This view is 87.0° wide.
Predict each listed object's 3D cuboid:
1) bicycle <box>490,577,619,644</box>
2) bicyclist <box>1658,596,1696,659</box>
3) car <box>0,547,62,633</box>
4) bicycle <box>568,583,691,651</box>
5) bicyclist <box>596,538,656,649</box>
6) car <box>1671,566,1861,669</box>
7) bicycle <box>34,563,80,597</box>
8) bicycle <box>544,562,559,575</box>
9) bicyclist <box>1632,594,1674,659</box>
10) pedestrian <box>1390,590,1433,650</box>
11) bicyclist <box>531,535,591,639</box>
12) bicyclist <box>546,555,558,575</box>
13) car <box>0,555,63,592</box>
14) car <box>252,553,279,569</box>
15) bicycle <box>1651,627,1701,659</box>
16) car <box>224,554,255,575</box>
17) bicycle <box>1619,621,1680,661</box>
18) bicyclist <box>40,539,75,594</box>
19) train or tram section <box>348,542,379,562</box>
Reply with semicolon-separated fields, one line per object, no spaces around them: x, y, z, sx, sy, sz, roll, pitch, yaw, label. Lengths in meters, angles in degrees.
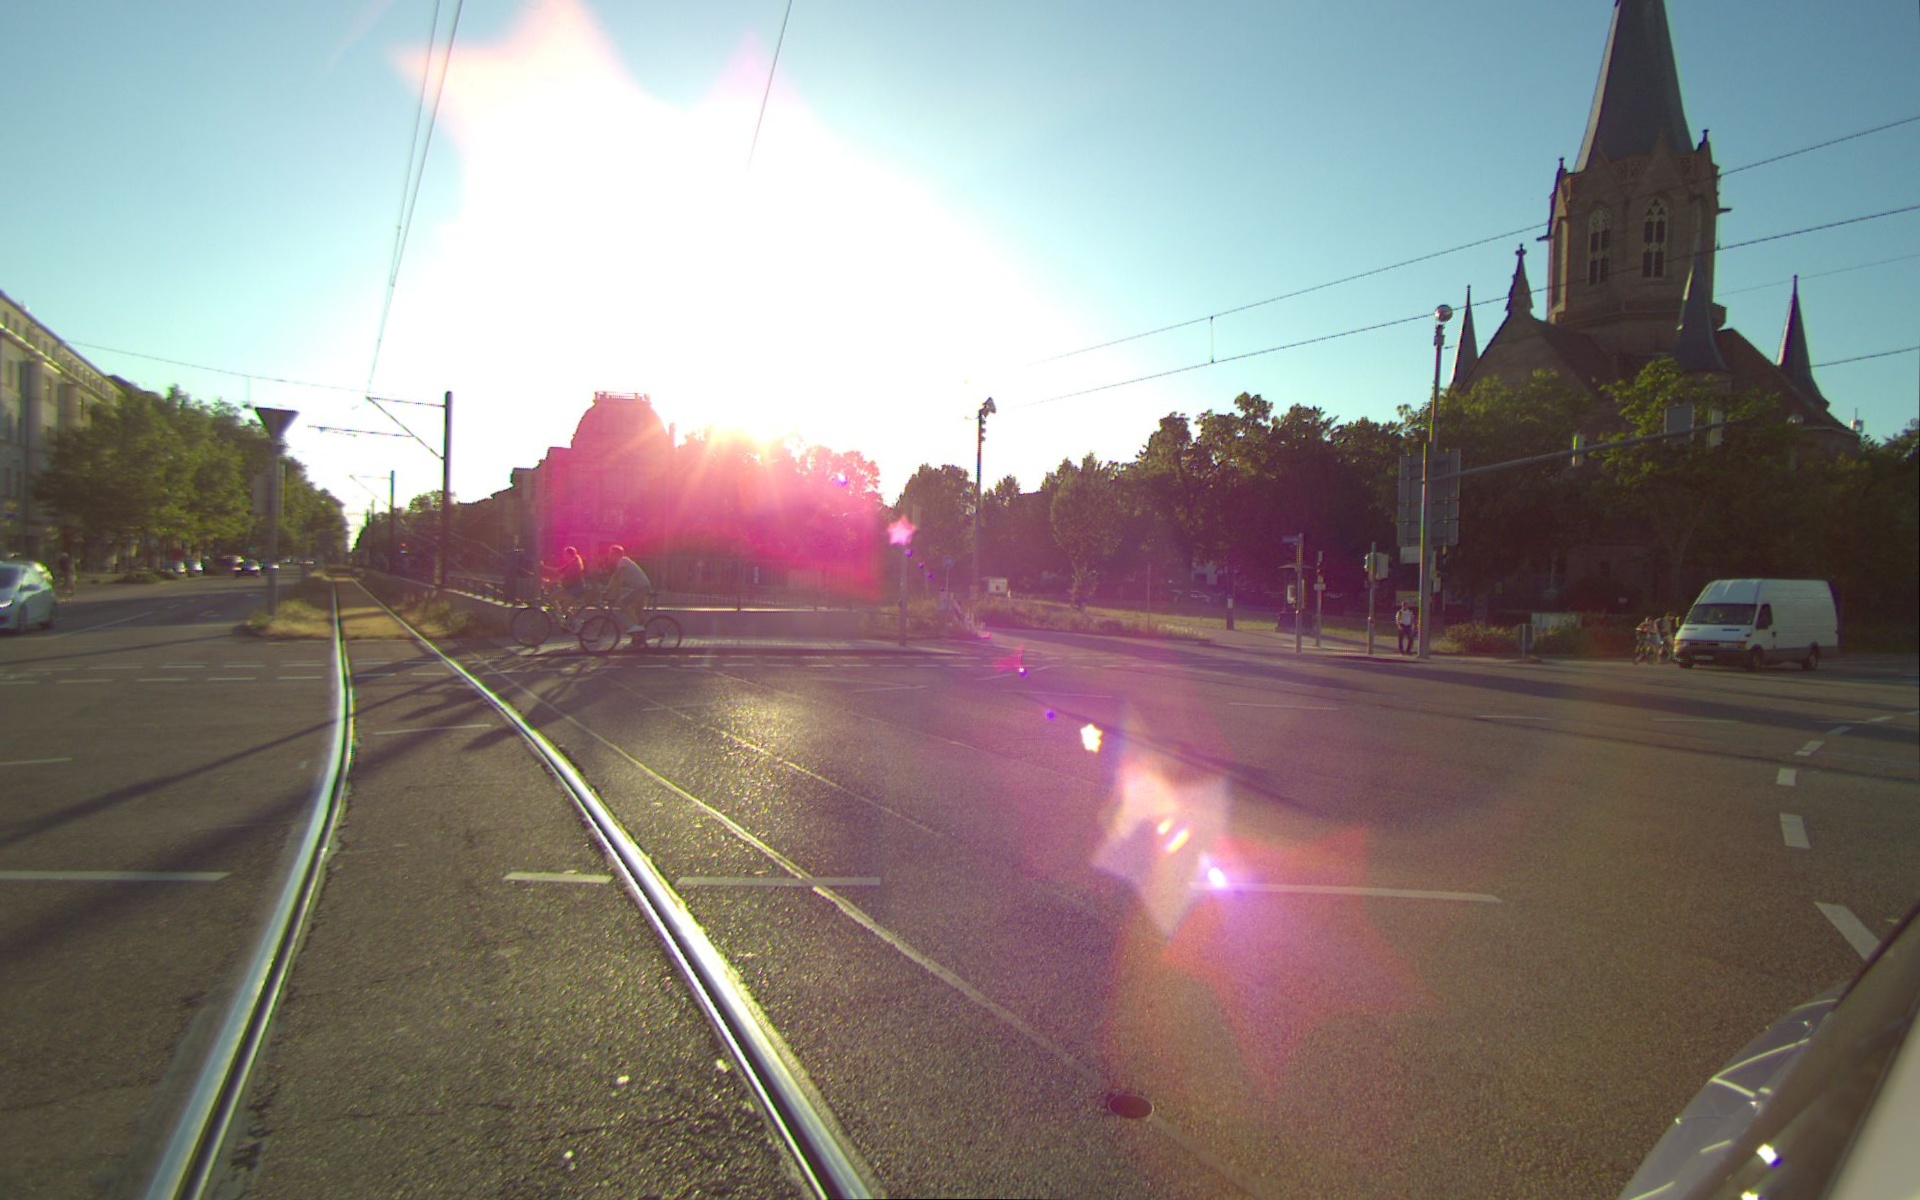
-7.359;0.167;18.446;2.136;1.096;0.537;-3;4;-45;bicycle
23.923;0.899;33.752;0.857;2.038;0.668;1;1;-28;bicyclist
-19.962;-0.277;20.676;1.661;1.638;4.005;1;2;-31;car
-5.623;0.277;17.262;1.872;1.088;0.632;1;1;-38;bicycle
-5.679;-0.117;17.204;0.780;1.840;0.646;1;1;-37;bicyclist
24.769;0.513;31.007;6.892;2.863;2.095;1;1;-30;car
-34.121;-0.785;38.261;0.799;1.216;2.416;1;2;-29;bicycle
-47.038;-3.617;116.595;1.080;1.416;2.834;1;1;-32;bicycle
22.205;0.832;32.424;0.883;2.038;0.723;1;1;-27;bicyclist
14.170;0.633;31.772;0.818;1.825;0.813;1;1;-17;pedestrian
-7.283;-0.254;18.497;0.536;1.840;0.865;2;3;45;bicyclist
-47.026;-4.047;116.640;1.064;2.305;0.987;1;1;-32;bicyclist
-39.132;-1.111;42.141;1.788;1.437;4.006;1;2;-28;car
-75.608;-4.222;110.244;1.959;1.666;4.006;1;2;-29;car
23.865;1.432;33.737;1.587;0.993;0.675;1;1;-28;bicycle
-66.251;-3.283;93.065;1.853;1.764;4.336;1;2;-30;car
22.056;1.302;32.361;1.933;1.191;0.736;1;1;-27;bicycle
-34.119;-1.250;38.258;0.783;2.038;0.925;1;1;-30;bicyclist
-119.931;-9.668;203.272;4.318;3.897;11.410;1;2;-36;train or tram section
